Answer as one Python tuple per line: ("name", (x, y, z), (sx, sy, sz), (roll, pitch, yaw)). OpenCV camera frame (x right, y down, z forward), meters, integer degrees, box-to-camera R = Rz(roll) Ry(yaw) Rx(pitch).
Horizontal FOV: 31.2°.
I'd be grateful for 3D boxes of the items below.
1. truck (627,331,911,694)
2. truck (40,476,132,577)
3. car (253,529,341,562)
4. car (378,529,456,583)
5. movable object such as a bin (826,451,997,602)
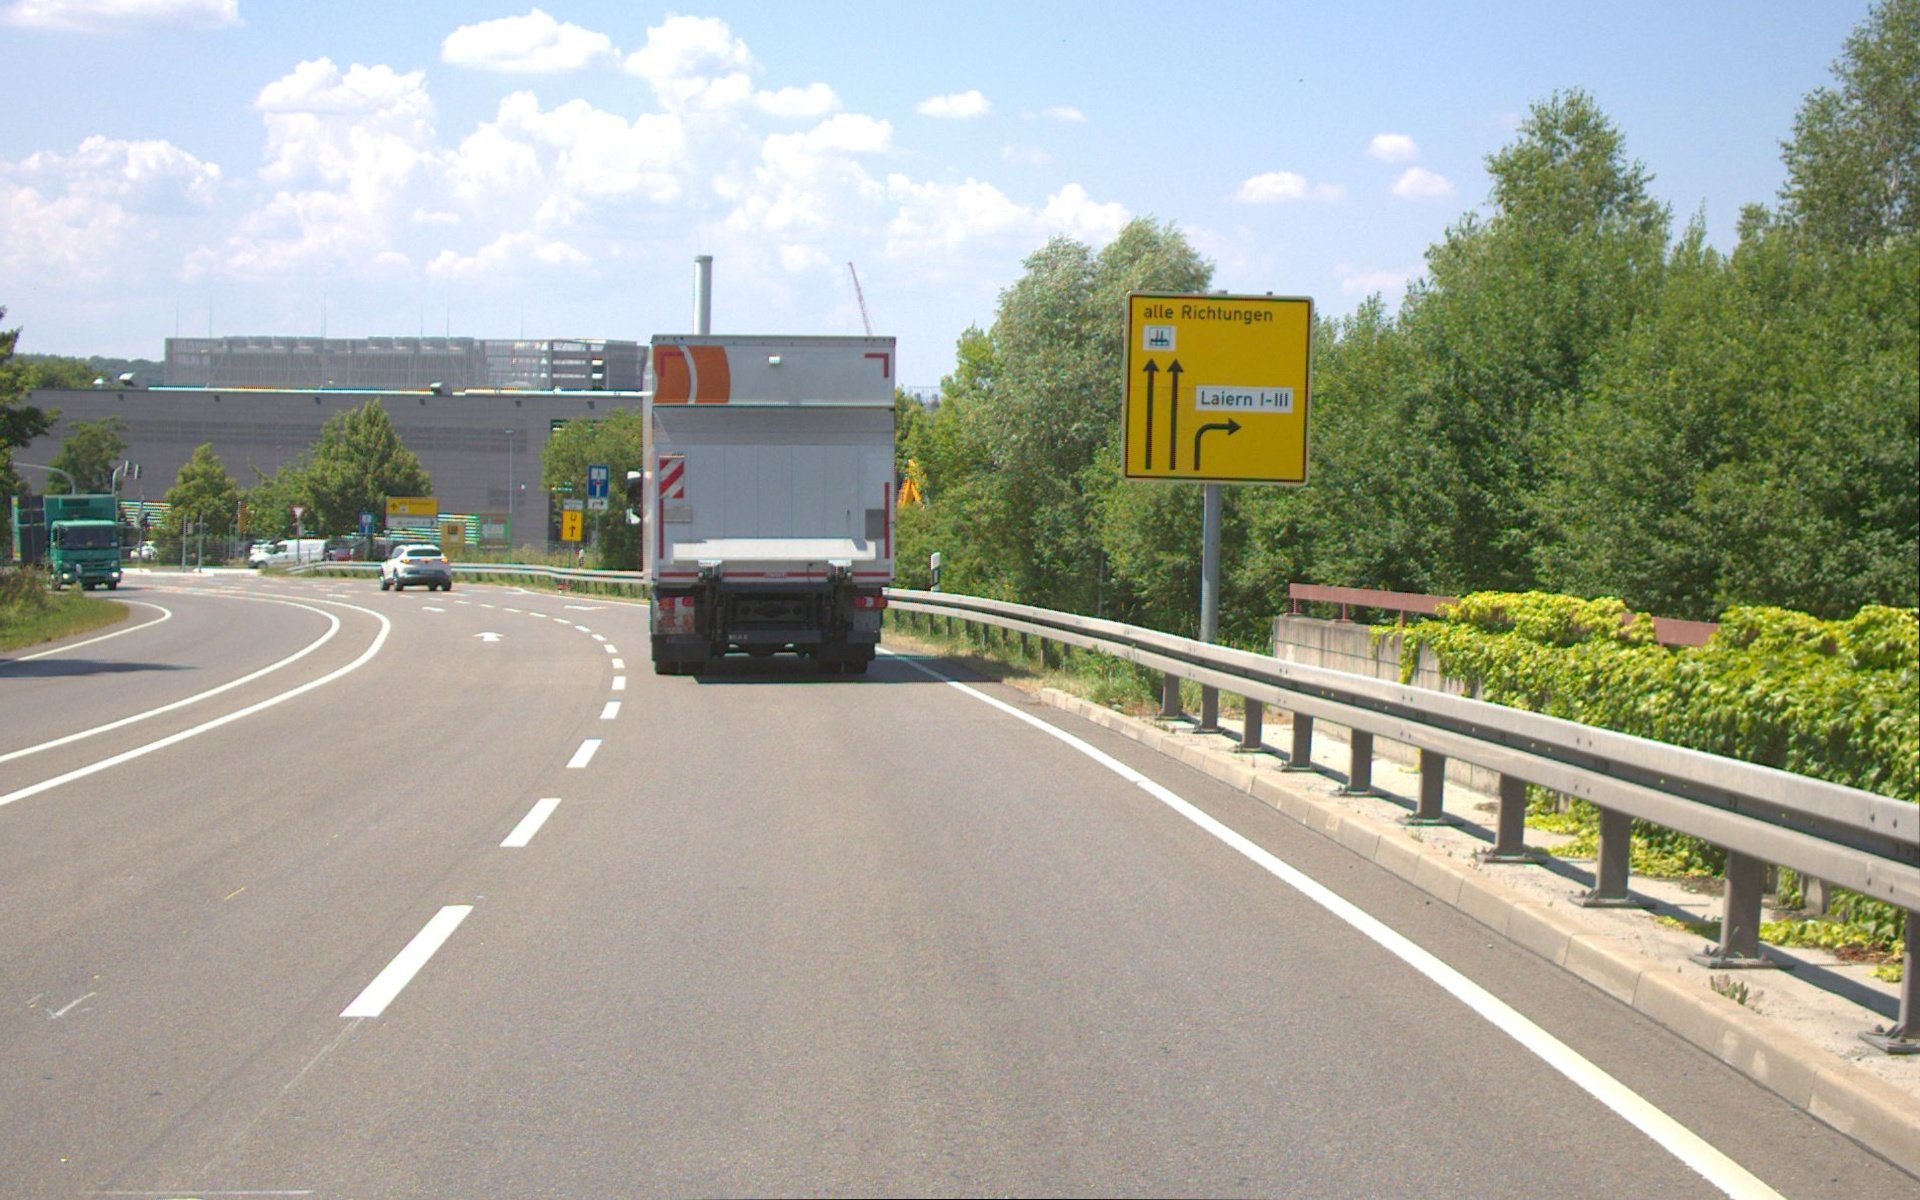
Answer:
("truck", (-2.029, -1.021, 39.939), (2.803, 3.698, 9.108), (1, 2, 0))
("truck", (-32.301, -2.698, 126.813), (2.868, 3.562, 9.434), (-1, 1, -17))
("car", (-38.655, -3.179, 200.458), (4.745, 1.925, 2.154), (0, 1, -1))
("car", (-17.818, -1.451, 112.628), (1.943, 1.658, 4.001), (3, 0, -16))
("movable object such as a bin", (-1.938, -2.864, 130.199), (3.423, 5.242, 9.232), (1, 3, -20))
